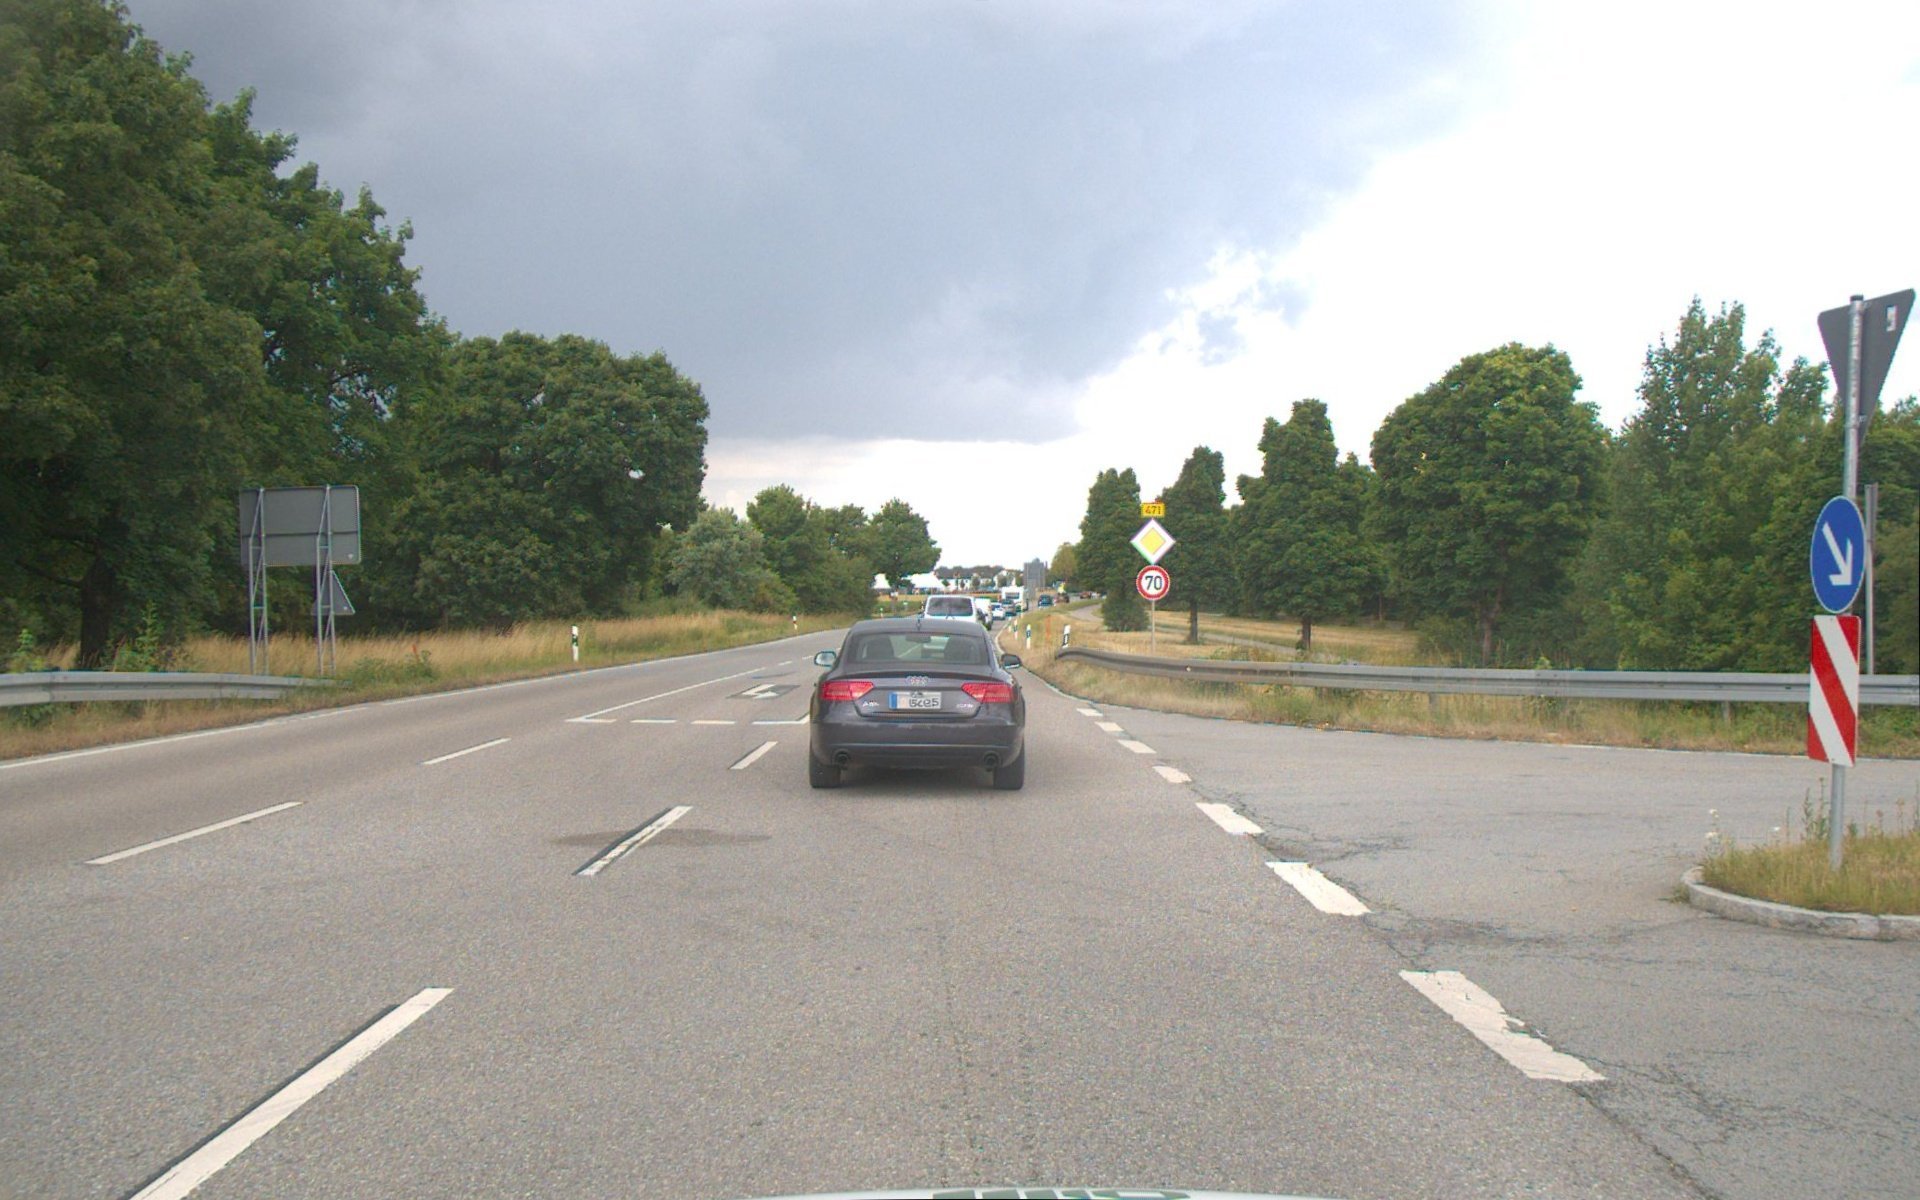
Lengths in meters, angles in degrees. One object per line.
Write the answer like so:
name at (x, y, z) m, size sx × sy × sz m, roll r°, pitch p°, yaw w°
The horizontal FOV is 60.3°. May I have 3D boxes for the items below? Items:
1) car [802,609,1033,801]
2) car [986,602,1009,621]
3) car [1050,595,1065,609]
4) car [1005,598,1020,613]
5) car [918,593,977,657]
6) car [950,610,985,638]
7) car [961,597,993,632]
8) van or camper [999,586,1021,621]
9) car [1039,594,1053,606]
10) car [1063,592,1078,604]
car at (-0.354, 0.811, 14.643) m, size 1.746 × 1.400 × 3.999 m, roll 1°, pitch 0°, yaw -1°
car at (3.189, 0.977, 138.741) m, size 1.699 × 1.541 × 3.749 m, roll 0°, pitch 0°, yaw 5°
car at (14.224, 0.286, 241.367) m, size 1.953 × 2.049 × 3.999 m, roll 0°, pitch 0°, yaw -1°
car at (4.960, 0.555, 154.886) m, size 1.231 × 1.377 × 3.468 m, roll 0°, pitch 0°, yaw 5°
car at (-0.411, 0.756, 52.770) m, size 1.801 × 1.915 × 3.999 m, roll 1°, pitch 0°, yaw -1°
car at (0.436, 1.292, 89.371) m, size 1.758 × 1.490 × 3.249 m, roll 0°, pitch 0°, yaw 3°
car at (1.084, 0.910, 105.081) m, size 1.952 × 2.125 × 4.001 m, roll 0°, pitch 0°, yaw 2°
van or camper at (5.211, 0.399, 172.971) m, size 2.292 × 3.542 × 5.719 m, roll 0°, pitch 0°, yaw 1°
car at (11.211, -0.014, 216.077) m, size 1.683 × 1.477 × 4.000 m, roll 1°, pitch 0°, yaw 0°
car at (15.690, -0.297, 235.102) m, size 1.784 × 1.624 × 4.000 m, roll 1°, pitch 0°, yaw 0°
